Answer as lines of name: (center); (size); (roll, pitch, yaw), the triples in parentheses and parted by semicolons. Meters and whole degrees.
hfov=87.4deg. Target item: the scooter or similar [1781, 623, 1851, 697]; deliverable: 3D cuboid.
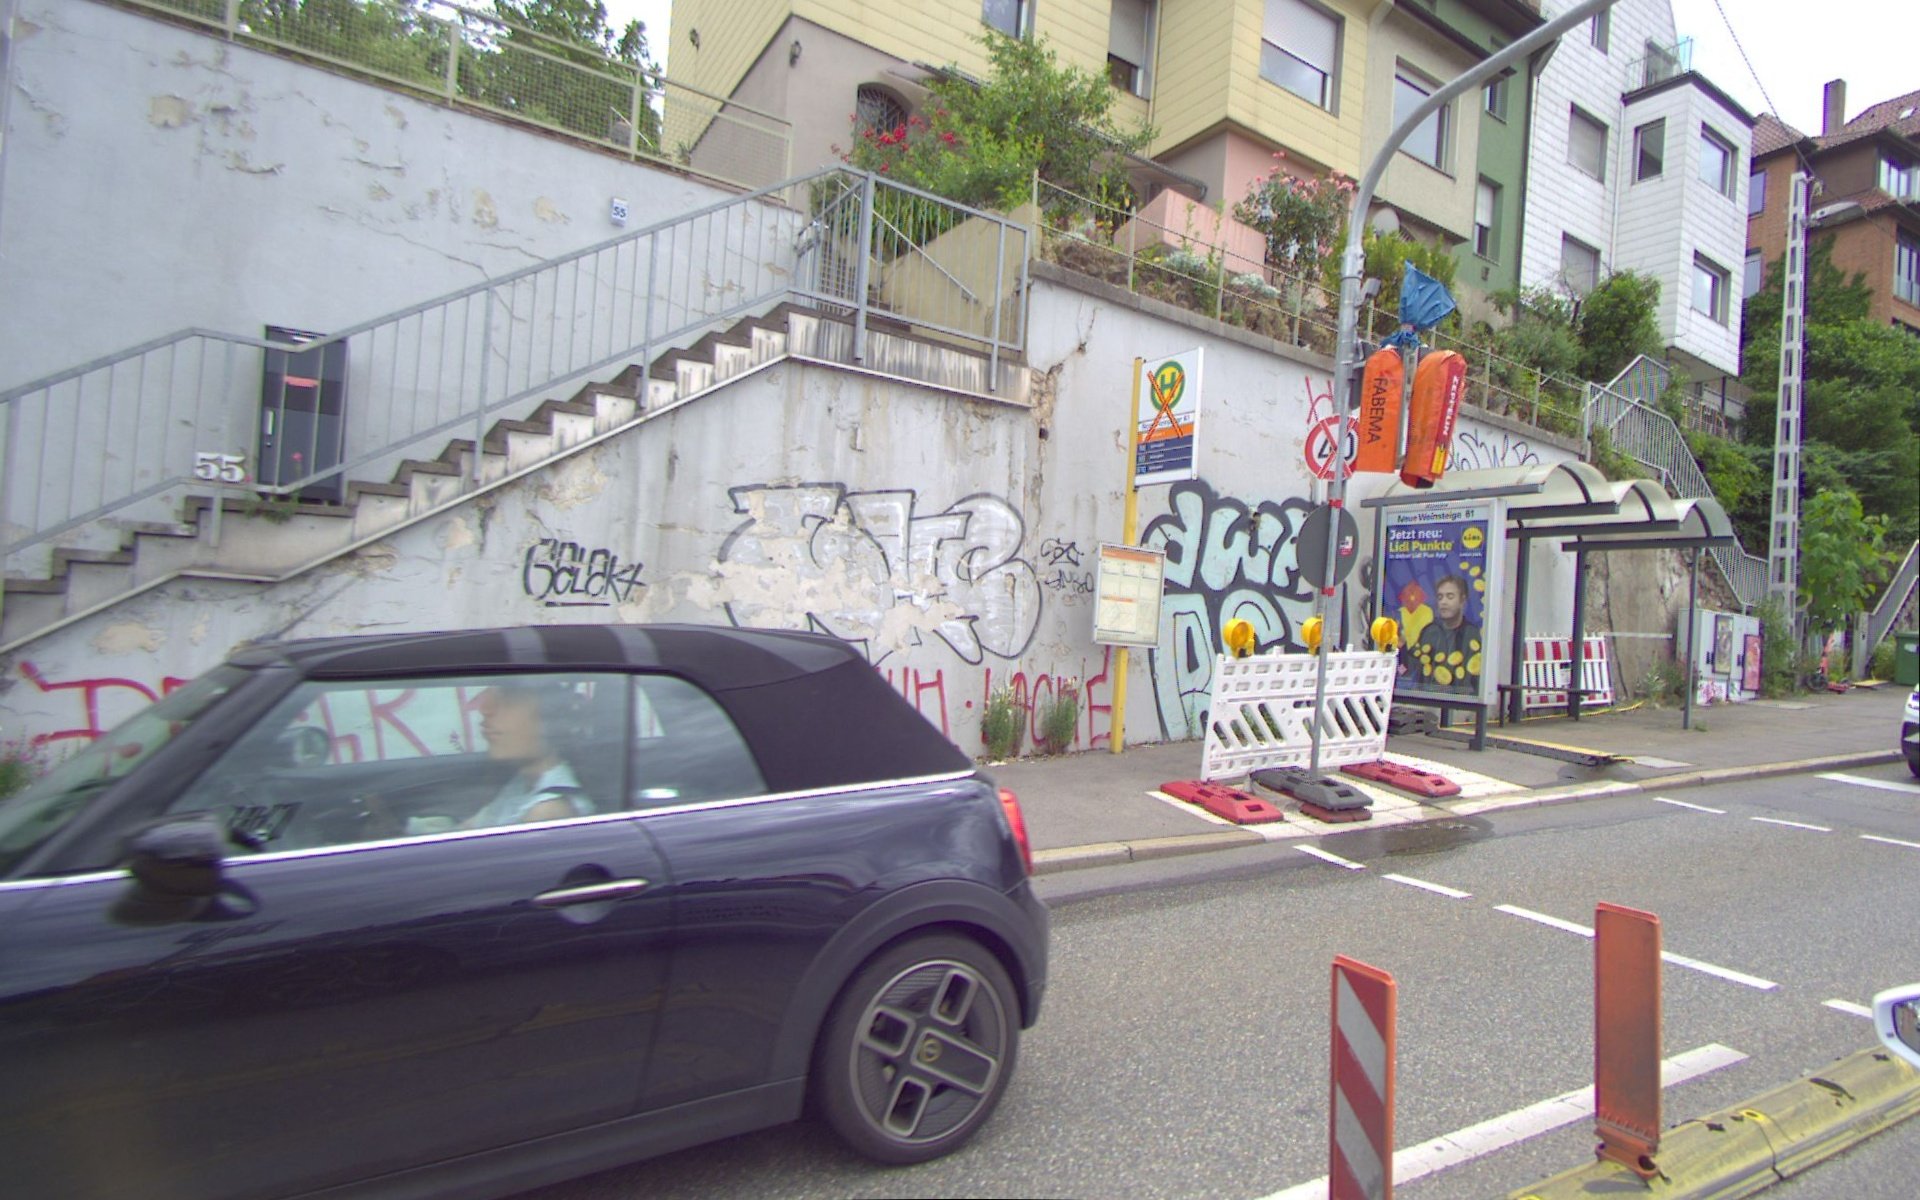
scooter or similar: (14.903, 1.022, 17.480); (1.419, 1.221, 0.457); (1, 2, -32)

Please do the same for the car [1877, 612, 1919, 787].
car: (11.045, 0.965, 9.801); (4.211, 1.621, 1.834); (1, 0, -29)

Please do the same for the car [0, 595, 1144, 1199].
car: (-1.396, 0.753, 2.865); (3.543, 1.449, 1.665); (1, -2, -28)

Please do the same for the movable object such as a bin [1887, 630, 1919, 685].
movable object such as a bin: (19.247, 1.160, 20.357); (0.616, 1.068, 0.466); (1, 2, -29)
